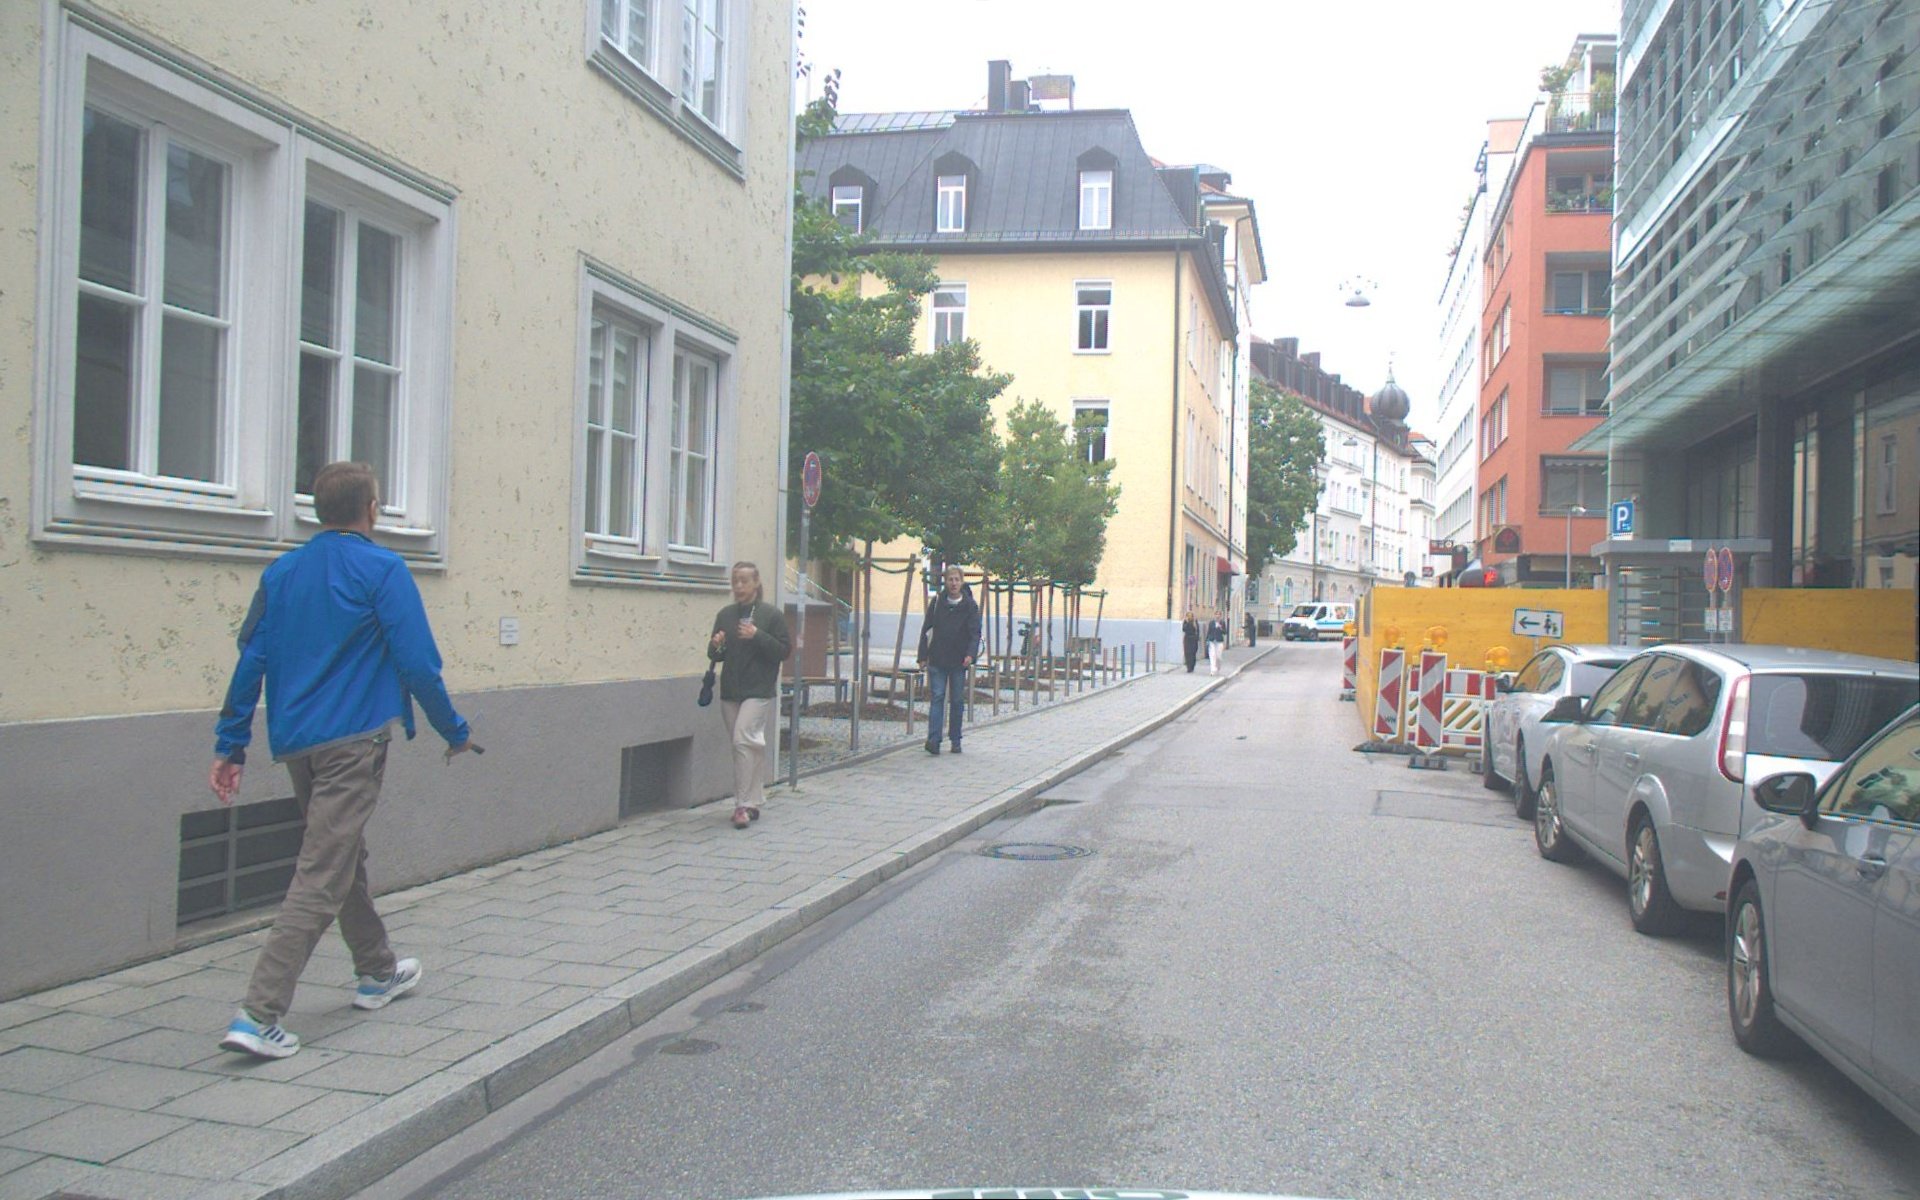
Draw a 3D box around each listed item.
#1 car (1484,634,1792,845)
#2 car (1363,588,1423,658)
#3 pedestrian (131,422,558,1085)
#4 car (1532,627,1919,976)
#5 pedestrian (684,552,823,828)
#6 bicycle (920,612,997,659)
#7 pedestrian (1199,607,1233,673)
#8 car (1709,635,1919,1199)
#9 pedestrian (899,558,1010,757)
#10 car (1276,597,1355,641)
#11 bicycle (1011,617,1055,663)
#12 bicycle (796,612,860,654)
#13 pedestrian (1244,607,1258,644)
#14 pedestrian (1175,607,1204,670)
[{"bbox_3d":[5.715,1.073,14.485,1.671,1.438,4.513,3,0,12],"label":"car"},{"bbox_3d":[17.070,0.891,65.411,1.951,2.581,4.979,2,0,12],"label":"car"},{"bbox_3d":[-1.936,0.439,5.357,0.741,1.887,1.078,3,-1,13],"label":"pedestrian"},{"bbox_3d":[4.562,0.951,9.456,1.671,1.493,4.240,3,0,9],"label":"car"},{"bbox_3d":[-1.337,0.568,10.787,0.633,1.706,0.724,2,-1,12],"label":"pedestrian"},{"bbox_3d":[-0.037,0.971,45.582,2.001,1.218,0.570,2,0,20],"label":"bicycle"},{"bbox_3d":[6.938,1.079,44.825,0.821,1.730,0.803,2,-1,12],"label":"pedestrian"},{"bbox_3d":[3.367,0.861,4.292,1.671,1.457,4.333,2,-1,12],"label":"car"},{"bbox_3d":[-0.038,0.570,16.802,0.849,1.914,1.136,2,-1,12],"label":"pedestrian"},{"bbox_3d":[21.319,1.146,99.048,4.946,2.440,1.972,2,0,-40],"label":"car"},{"bbox_3d":[1.905,1.034,43.086,0.499,1.164,2.052,2,0,20],"label":"bicycle"},{"bbox_3d":[-3.674,0.927,46.127,1.621,1.088,0.598,3,0,17],"label":"bicycle"},{"bbox_3d":[13.816,1.215,78.420,0.505,1.704,0.637,2,0,2],"label":"pedestrian"},{"bbox_3d":[6.269,1.054,45.148,0.656,1.677,0.762,2,-1,12],"label":"pedestrian"}]
